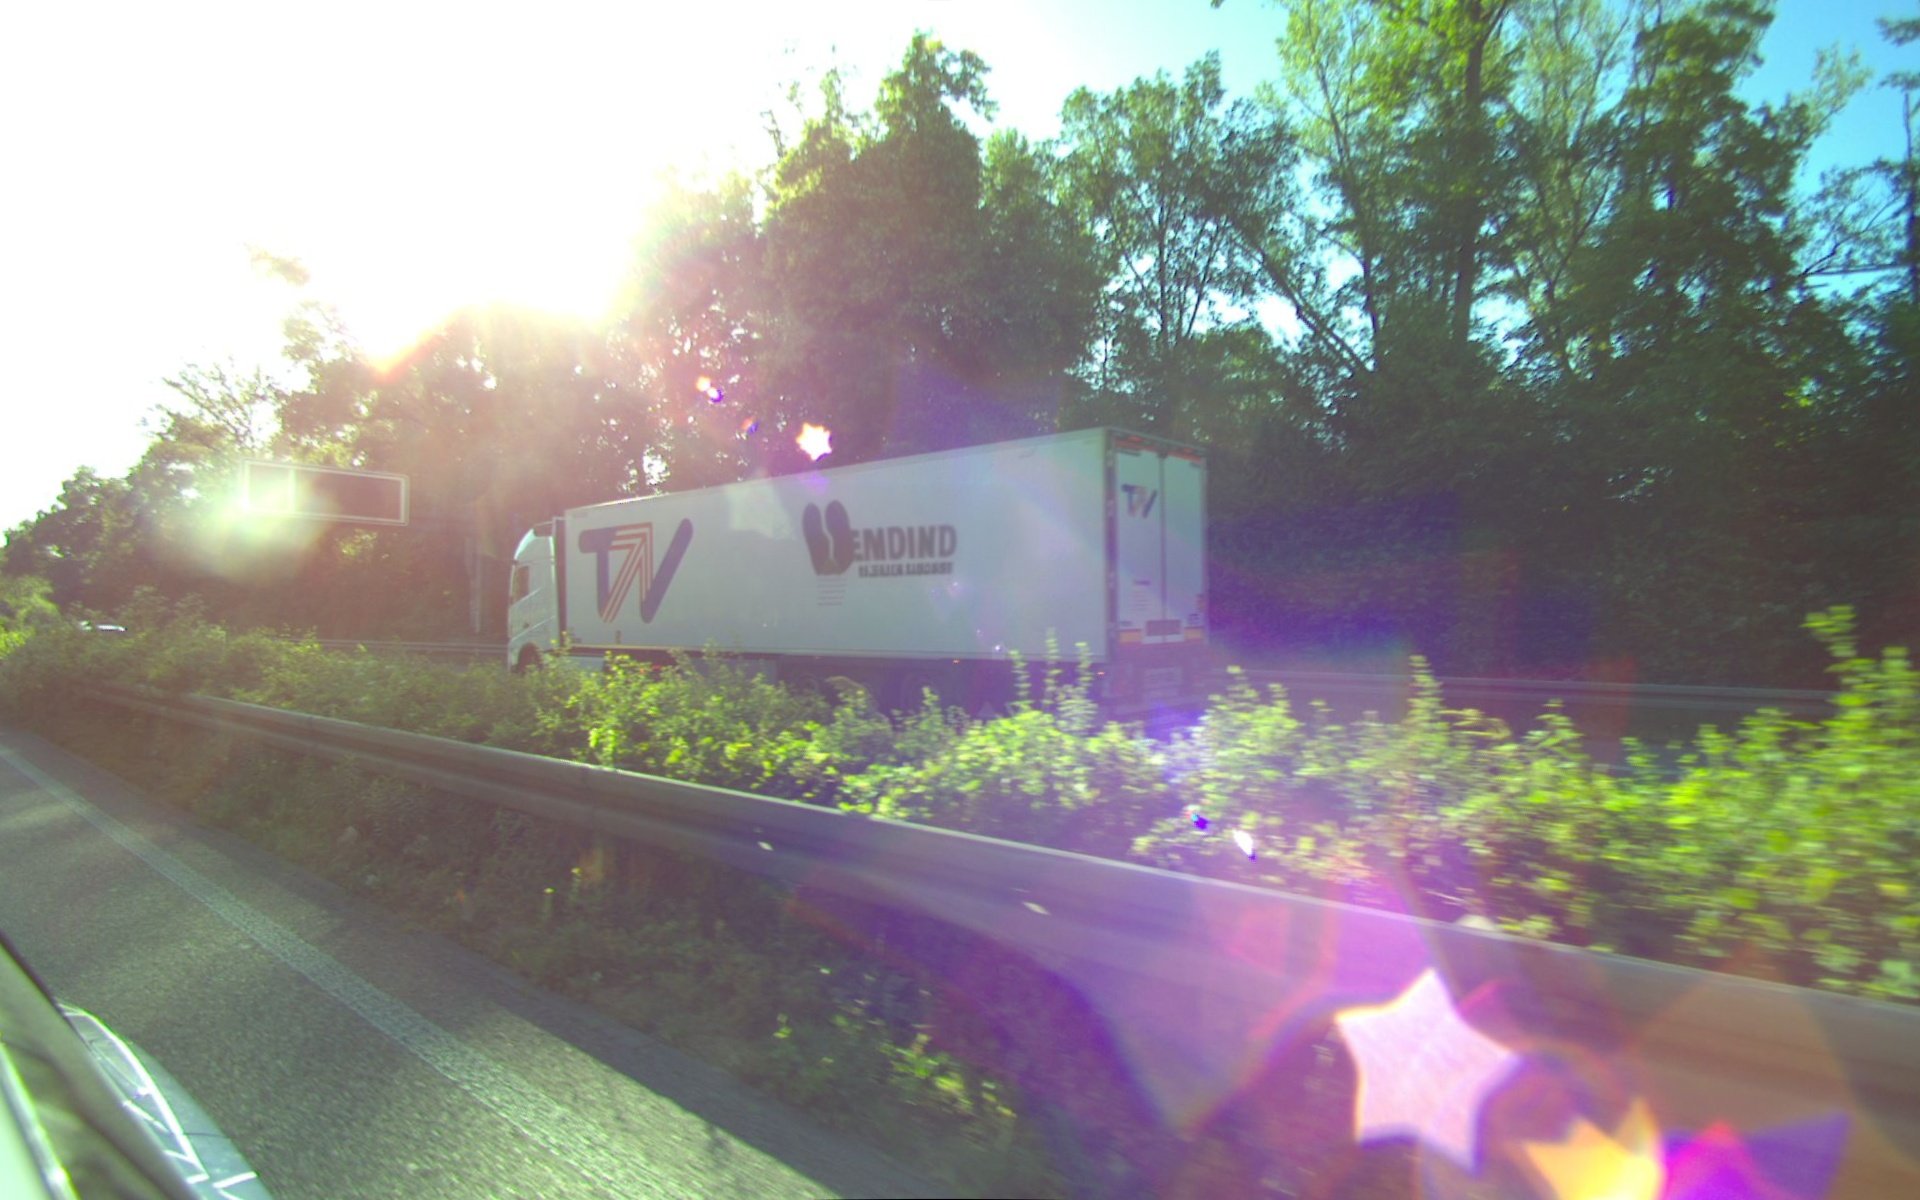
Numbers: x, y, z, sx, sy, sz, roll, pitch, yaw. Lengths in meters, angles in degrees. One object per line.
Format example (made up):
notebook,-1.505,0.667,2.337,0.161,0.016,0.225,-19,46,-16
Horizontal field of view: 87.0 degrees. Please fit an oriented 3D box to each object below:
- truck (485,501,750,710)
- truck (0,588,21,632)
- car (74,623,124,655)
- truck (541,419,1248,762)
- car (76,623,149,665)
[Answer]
truck,-7.743,0.145,22.620,5.674,4.043,3.195,-2,-1,41
truck,-92.191,0.987,96.571,11.462,3.985,2.740,-1,0,42
car,-52.445,2.318,61.642,4.524,1.824,1.699,-1,0,41
truck,-2.411,0.009,17.928,14.444,4.043,3.210,-1,-1,41
car,-35.155,1.778,41.957,3.987,1.628,1.743,-1,0,41
